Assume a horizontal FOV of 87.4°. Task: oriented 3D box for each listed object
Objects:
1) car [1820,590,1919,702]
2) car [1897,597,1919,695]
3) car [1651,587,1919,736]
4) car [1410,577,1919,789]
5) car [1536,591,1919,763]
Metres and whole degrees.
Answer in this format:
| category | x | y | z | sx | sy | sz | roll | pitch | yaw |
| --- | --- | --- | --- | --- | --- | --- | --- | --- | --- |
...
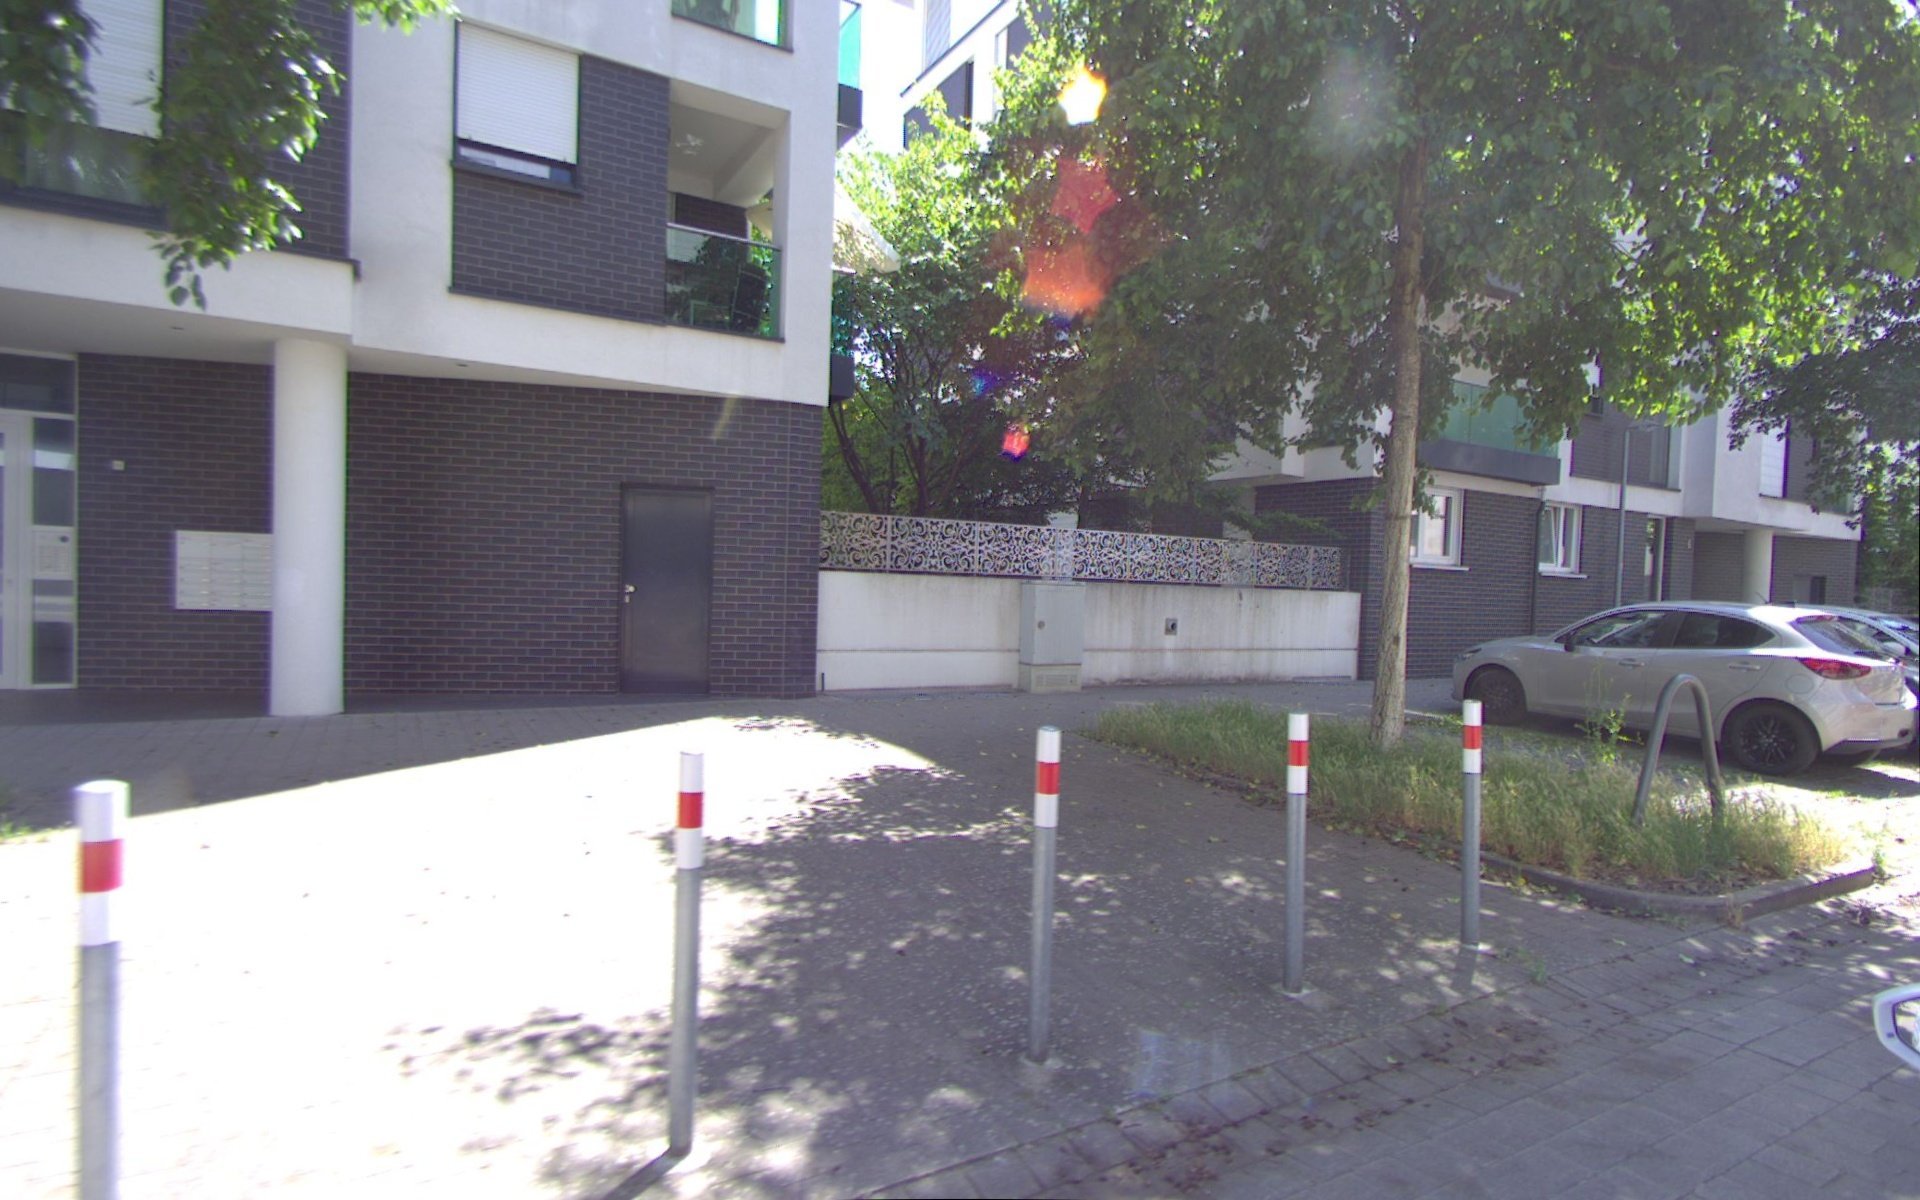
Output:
| category | x | y | z | sx | sy | sz | roll | pitch | yaw |
| --- | --- | --- | --- | --- | --- | --- | --- | --- | --- |
| car | 15.886 | 0.791 | 15.145 | 1.910 | 1.651 | 3.967 | 1 | 3 | -30 |
| car | 18.147 | 0.911 | 16.212 | 1.894 | 1.673 | 3.970 | 1 | 2 | -28 |
| car | 11.574 | 0.742 | 12.915 | 1.861 | 1.613 | 3.968 | 1 | 3 | -29 |
| car | 7.238 | 0.660 | 10.534 | 1.902 | 1.538 | 4.231 | 1 | 3 | -30 |
| car | 9.372 | 0.770 | 11.668 | 1.771 | 1.496 | 4.295 | 1 | 3 | -30 |
